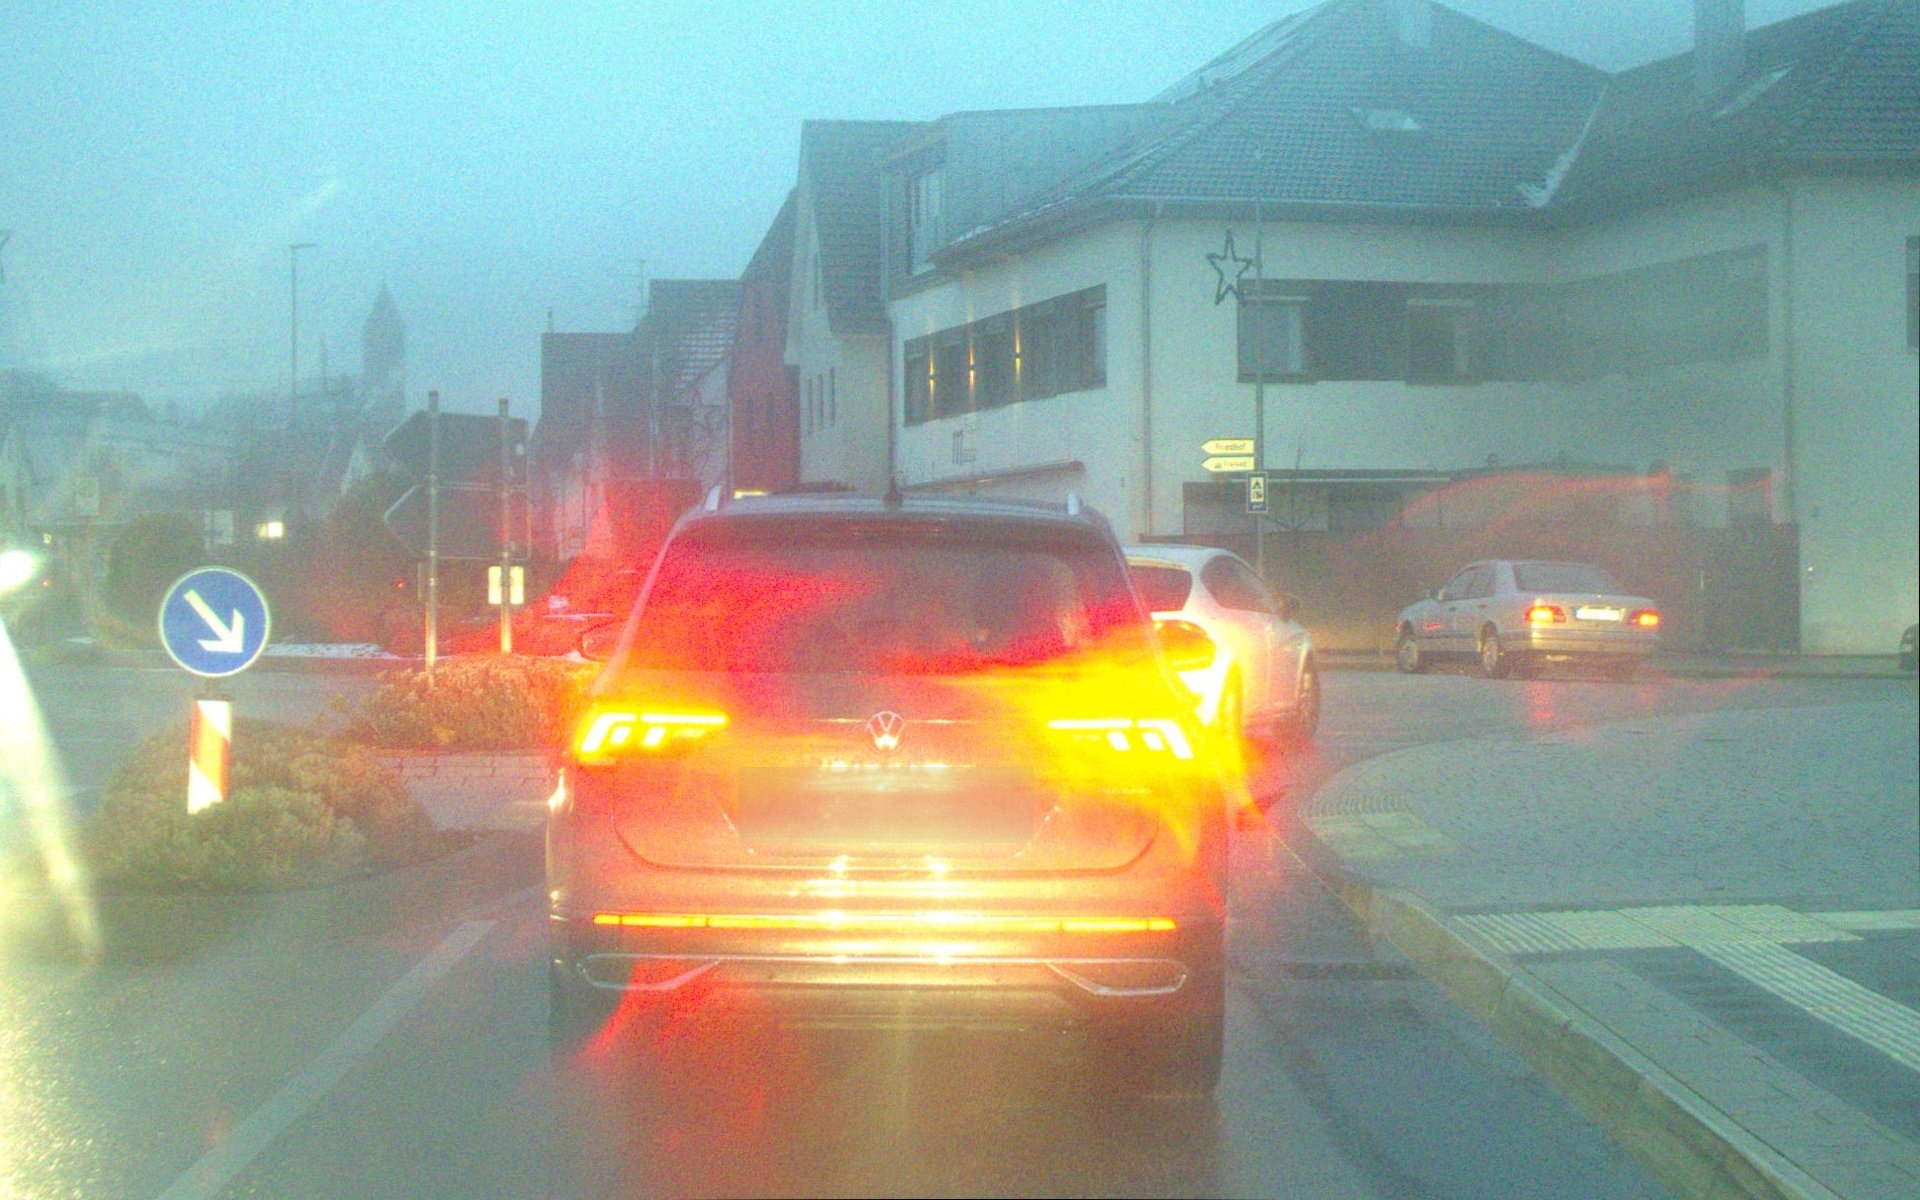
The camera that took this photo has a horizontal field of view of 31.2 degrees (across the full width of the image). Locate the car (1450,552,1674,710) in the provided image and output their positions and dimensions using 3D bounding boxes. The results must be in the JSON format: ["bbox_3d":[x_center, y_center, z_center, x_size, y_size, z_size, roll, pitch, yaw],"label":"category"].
[{"bbox_3d":[7.081,0.323,40.796,1.821,1.622,4.001,-2,2,-1],"label":"car"}]

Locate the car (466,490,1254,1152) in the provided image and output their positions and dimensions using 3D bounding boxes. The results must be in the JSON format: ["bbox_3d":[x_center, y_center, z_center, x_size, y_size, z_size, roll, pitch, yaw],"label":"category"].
[{"bbox_3d":[-0.365,0.506,10.373,1.915,1.609,3.951,0,1,-4],"label":"car"}]

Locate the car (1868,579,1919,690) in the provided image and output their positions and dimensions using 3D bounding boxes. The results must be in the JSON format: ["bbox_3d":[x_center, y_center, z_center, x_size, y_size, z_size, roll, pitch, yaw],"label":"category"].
[{"bbox_3d":[14.060,0.476,44.258,4.220,1.379,1.851,1,-2,-3],"label":"car"}]

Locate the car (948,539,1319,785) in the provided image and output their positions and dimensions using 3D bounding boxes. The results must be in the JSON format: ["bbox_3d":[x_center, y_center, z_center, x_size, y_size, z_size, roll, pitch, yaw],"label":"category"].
[{"bbox_3d":[1.291,0.353,23.772,1.779,1.533,3.930,0,1,15],"label":"car"}]
